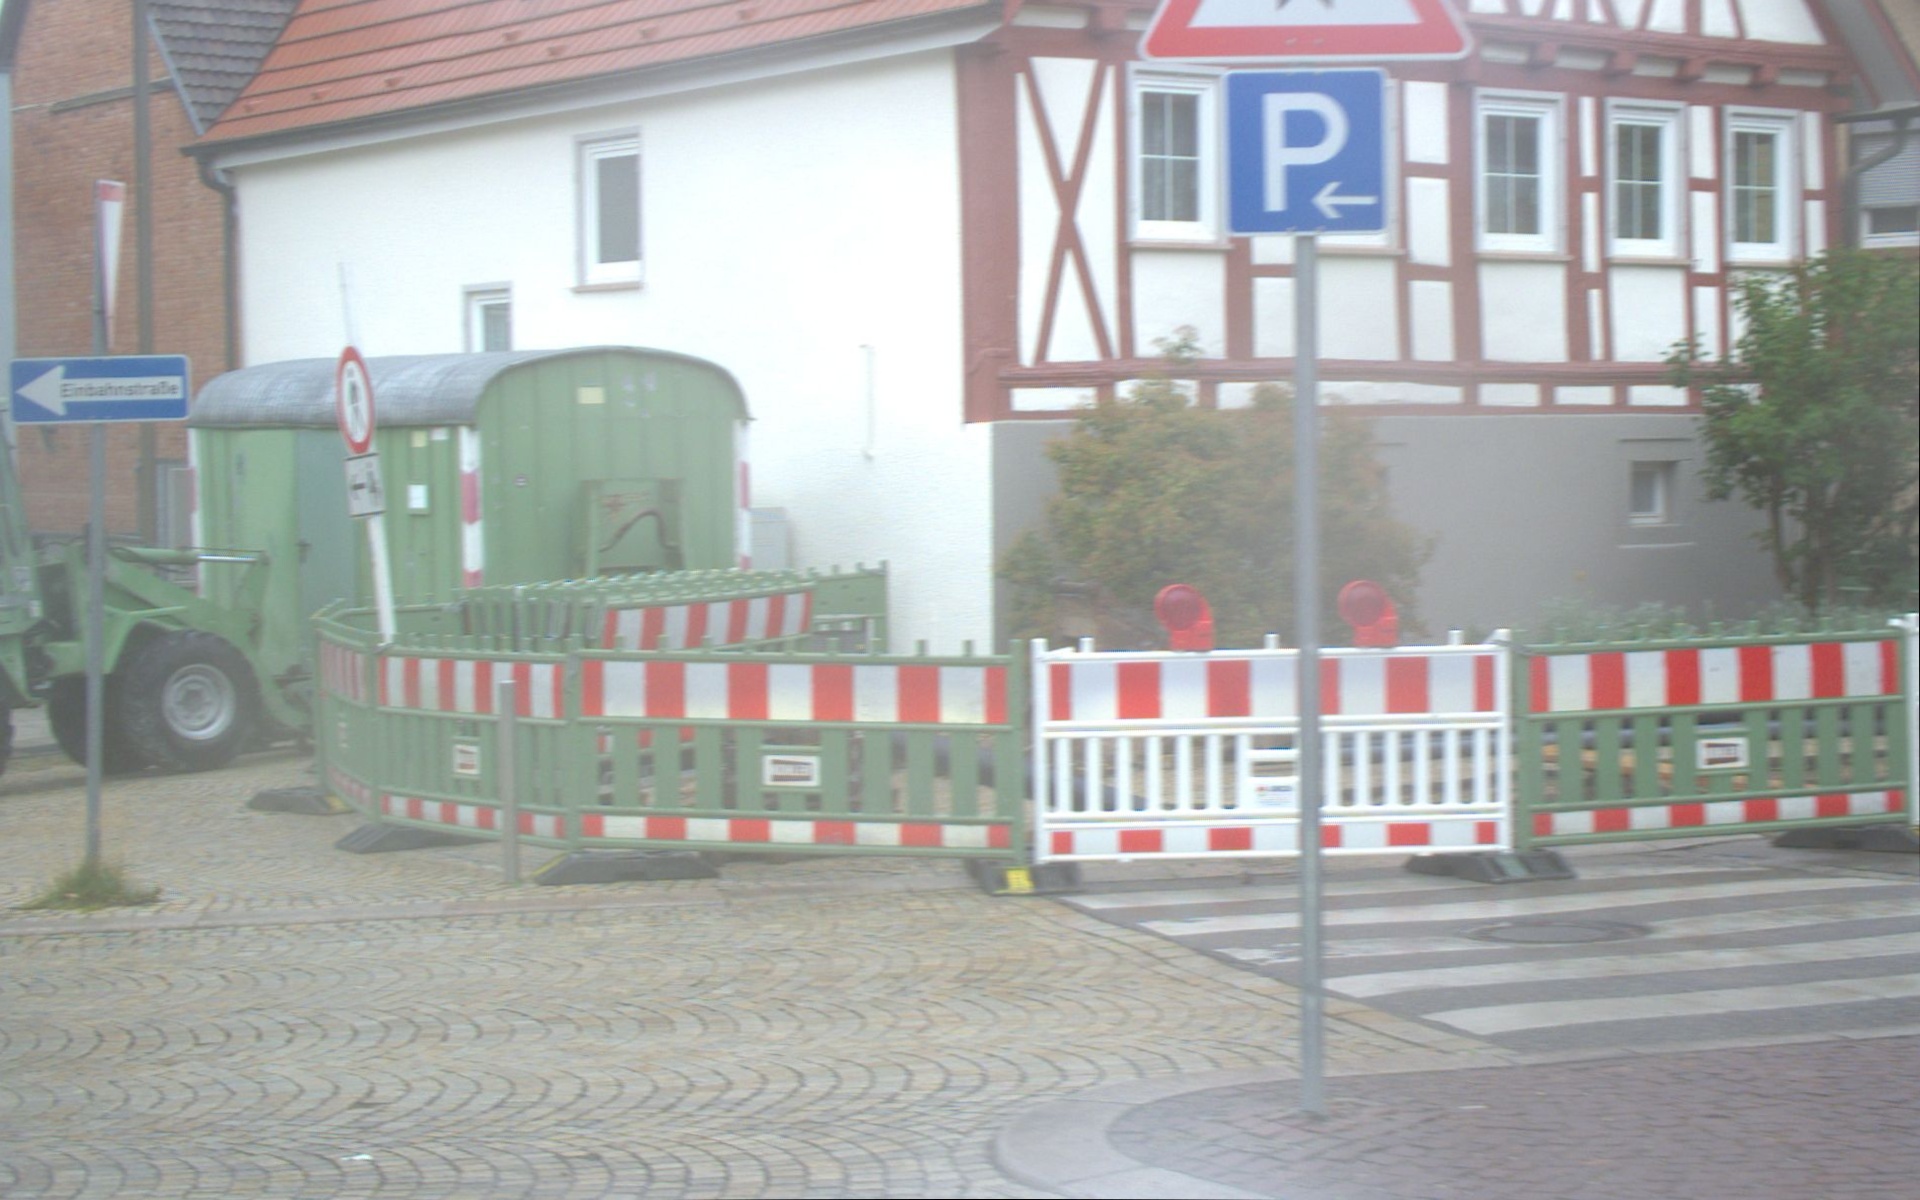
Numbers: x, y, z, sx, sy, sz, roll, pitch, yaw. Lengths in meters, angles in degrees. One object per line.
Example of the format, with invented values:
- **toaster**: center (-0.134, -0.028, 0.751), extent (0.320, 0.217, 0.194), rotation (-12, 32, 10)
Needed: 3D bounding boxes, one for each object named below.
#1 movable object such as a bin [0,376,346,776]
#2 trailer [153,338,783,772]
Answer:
- **movable object such as a bin**: center (-6.483, -0.159, 22.867), extent (4.279, 2.545, 1.911), rotation (-3, 1, -42)
- **trailer**: center (-3.670, -0.394, 24.970), extent (2.485, 2.826, 4.631), rotation (0, 2, -39)
